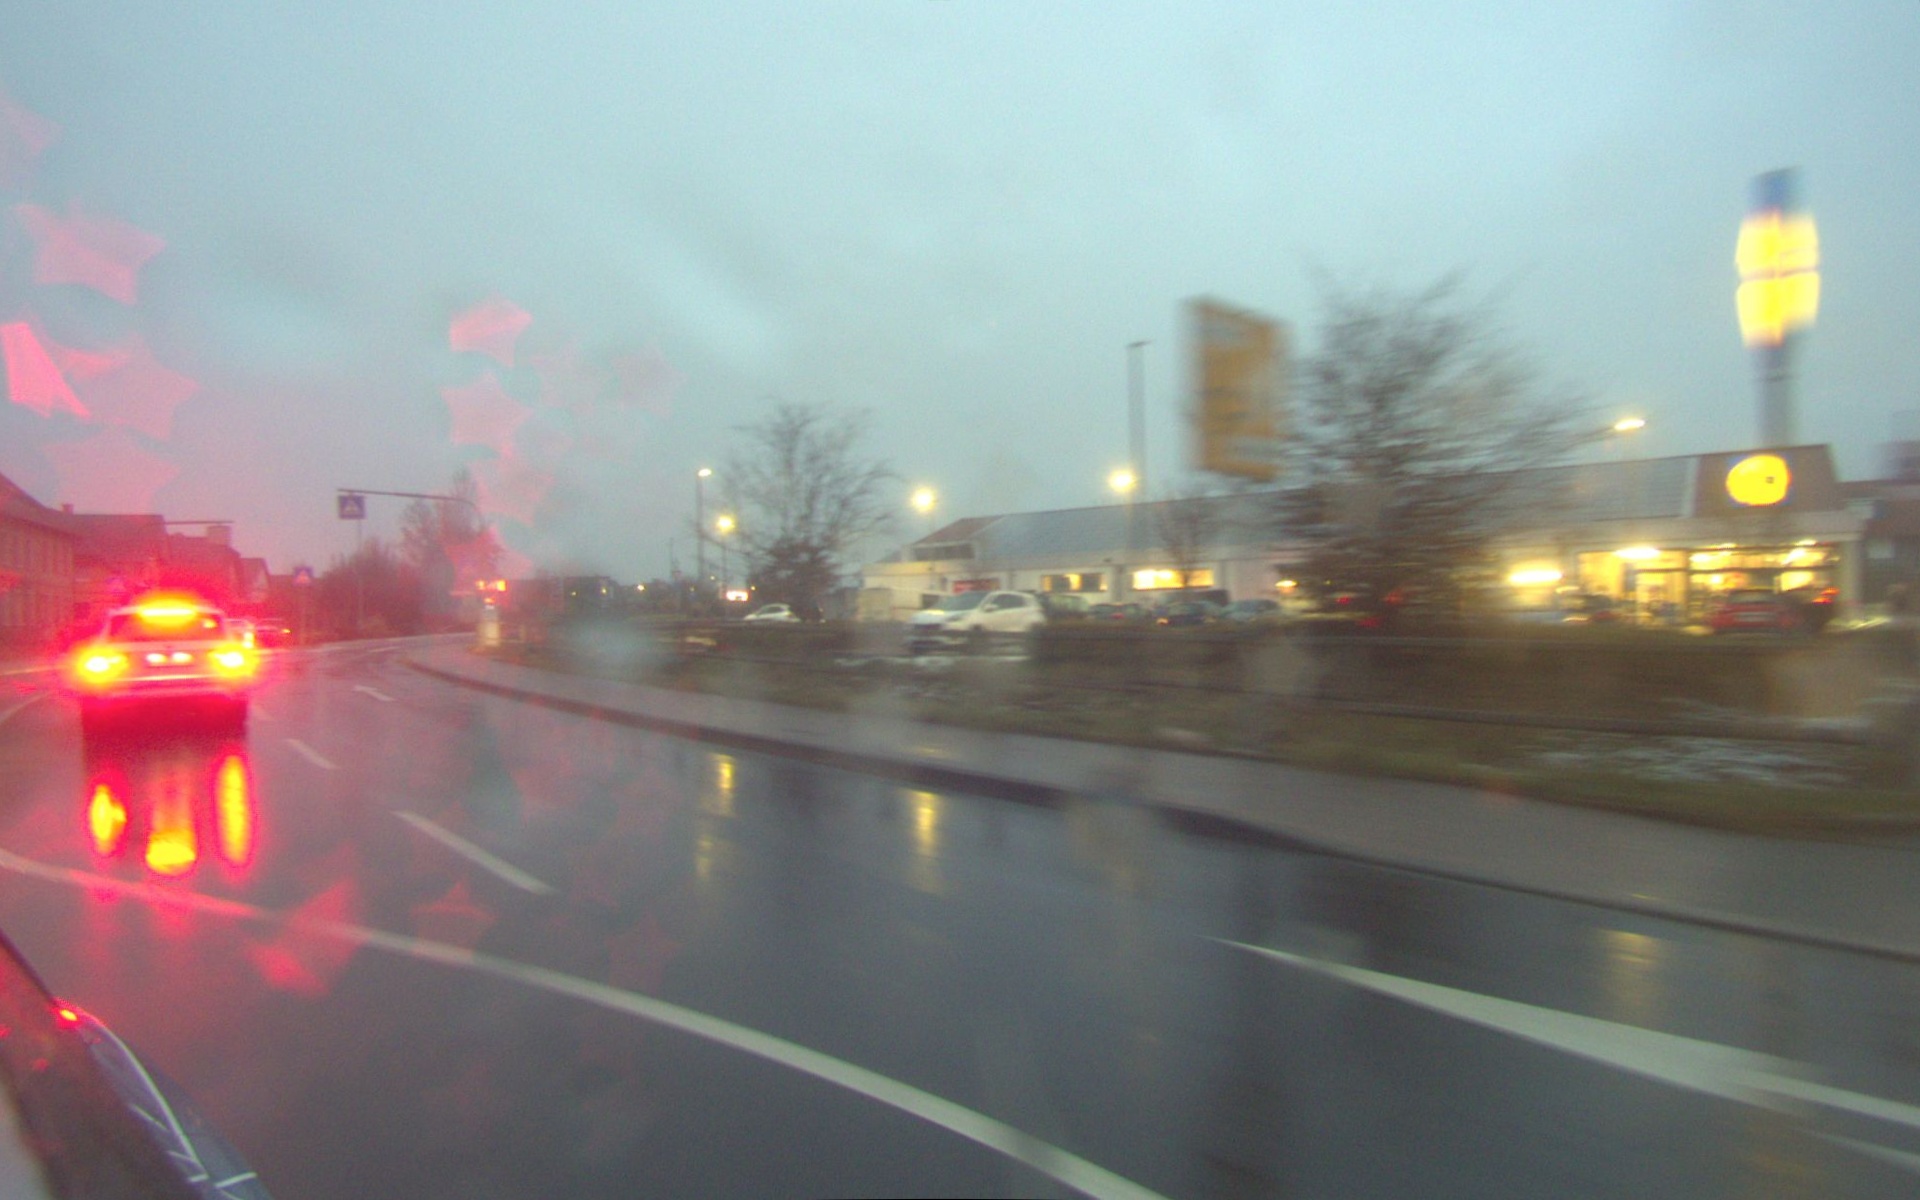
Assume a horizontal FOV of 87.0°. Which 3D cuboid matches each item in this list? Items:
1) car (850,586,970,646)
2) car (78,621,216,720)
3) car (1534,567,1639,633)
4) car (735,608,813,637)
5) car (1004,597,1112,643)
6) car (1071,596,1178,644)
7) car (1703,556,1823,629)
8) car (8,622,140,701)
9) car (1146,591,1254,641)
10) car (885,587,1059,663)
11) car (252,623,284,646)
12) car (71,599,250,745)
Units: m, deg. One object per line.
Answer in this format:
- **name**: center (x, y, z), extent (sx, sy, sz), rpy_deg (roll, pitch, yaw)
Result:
- **car**: center (-1.999, 0.705, 42.152), extent (2.214, 2.300, 5.139), rpy_deg (-3, -3, 36)
- **car**: center (-14.532, 1.179, 18.168), extent (1.749, 1.506, 4.050), rpy_deg (-1, -1, -38)
- **car**: center (16.954, 0.066, 27.300), extent (2.051, 1.575, 4.390), rpy_deg (-3, -3, 36)
- **car**: center (-10.549, 1.274, 57.260), extent (4.782, 1.548, 1.666), rpy_deg (-1, 0, 40)
- **car**: center (3.718, 0.759, 37.647), extent (2.051, 1.575, 4.390), rpy_deg (-3, -3, 36)
- **car**: center (6.014, 0.741, 36.562), extent (2.051, 1.575, 4.390), rpy_deg (-3, -3, 36)
- **car**: center (19.555, -0.104, 24.833), extent (2.051, 1.575, 4.390), rpy_deg (-3, -3, 36)
- **car**: center (-19.221, 1.269, 22.111), extent (1.640, 1.497, 4.010), rpy_deg (-1, 0, -34)
- **car**: center (8.338, 0.583, 34.913), extent (2.051, 1.575, 4.390), rpy_deg (-3, -3, 36)
- **car**: center (0.416, 0.583, 25.448), extent (2.029, 1.724, 4.728), rpy_deg (-2, -1, 35)
- **car**: center (-58.934, 2.906, 86.241), extent (1.916, 1.819, 4.185), rpy_deg (-2, -1, -30)
- **car**: center (-11.443, 0.924, 14.485), extent (1.749, 1.736, 4.429), rpy_deg (-1, -1, -39)
